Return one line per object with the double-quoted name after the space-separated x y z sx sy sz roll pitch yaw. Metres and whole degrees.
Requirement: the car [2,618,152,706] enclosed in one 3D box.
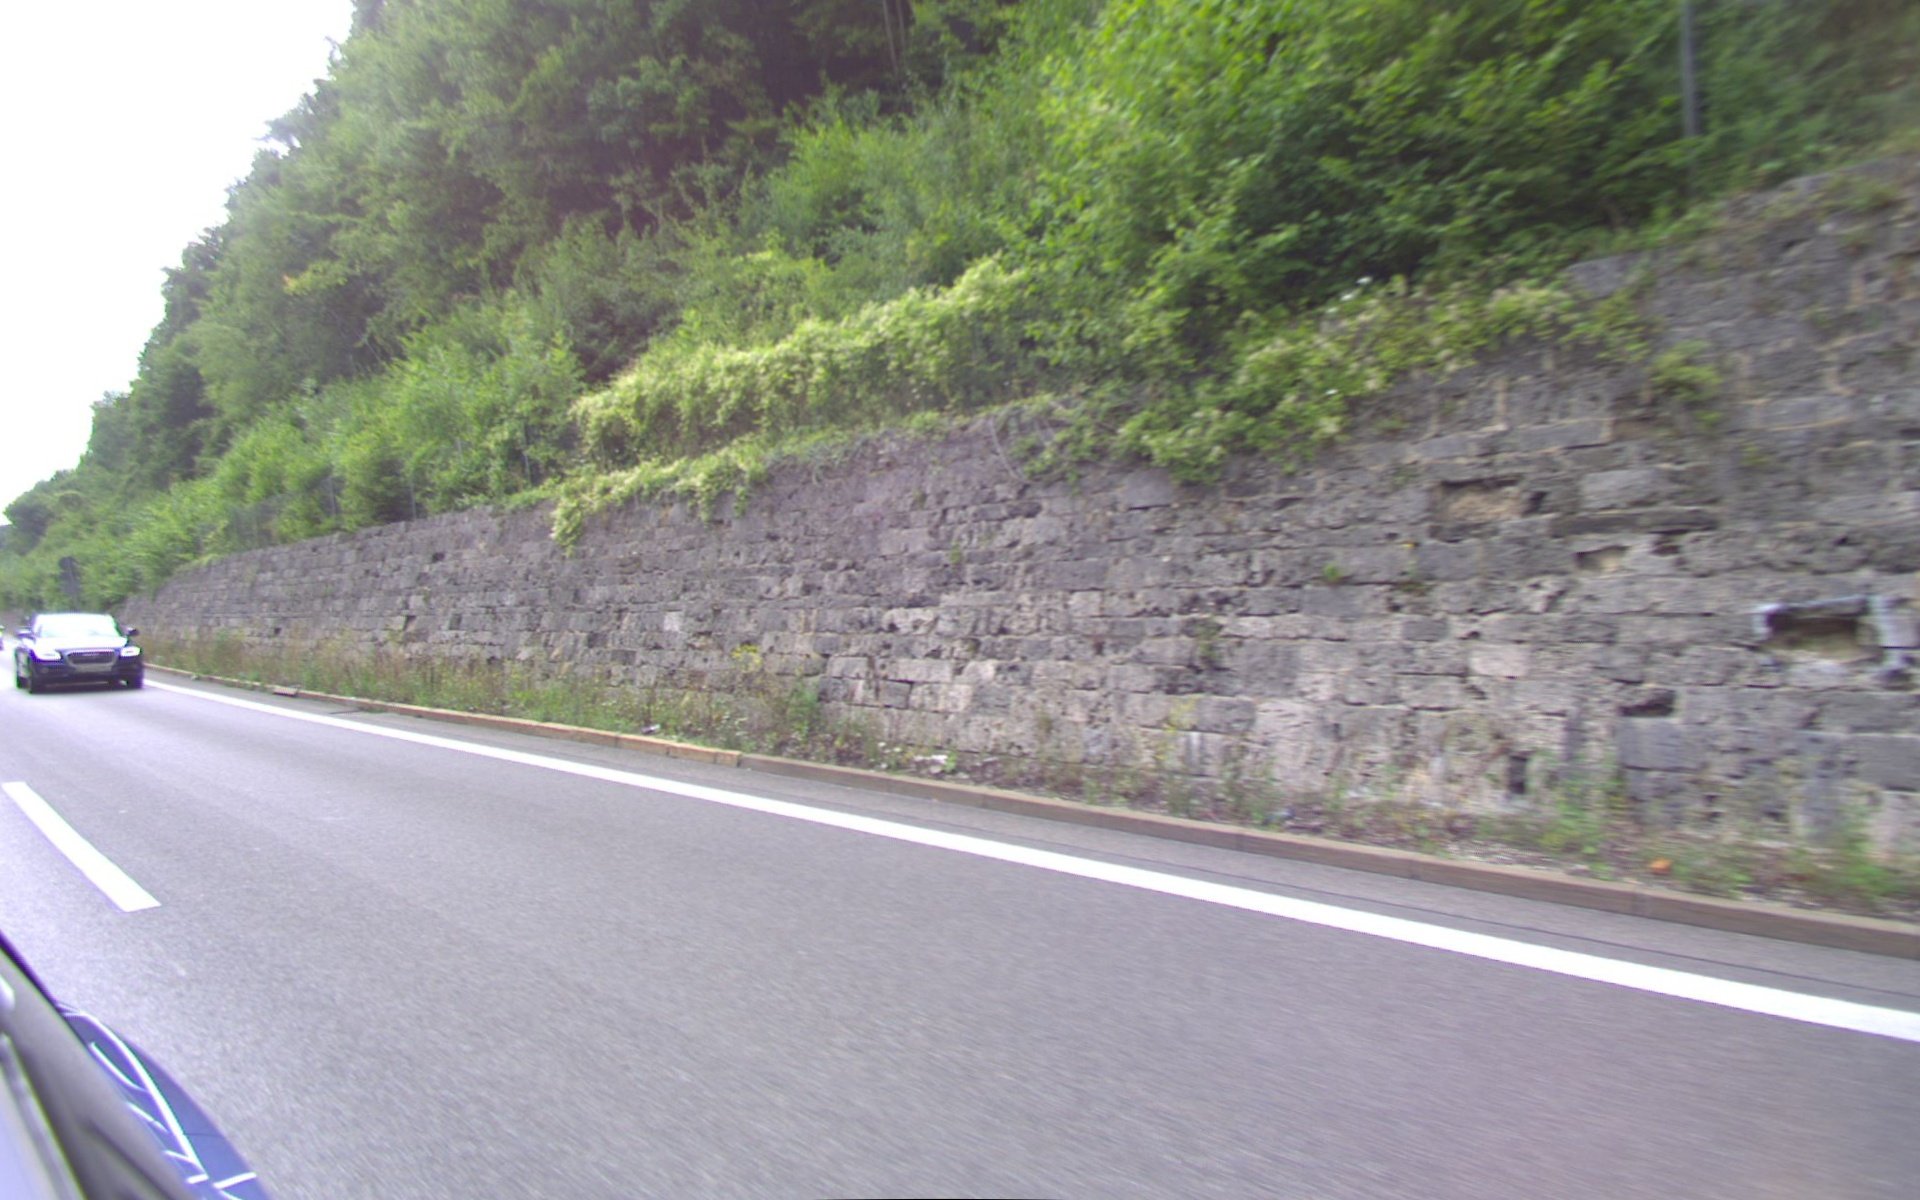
-19.945 1.286 22.758 5.586 1.605 1.950 0 2 43 "car"
